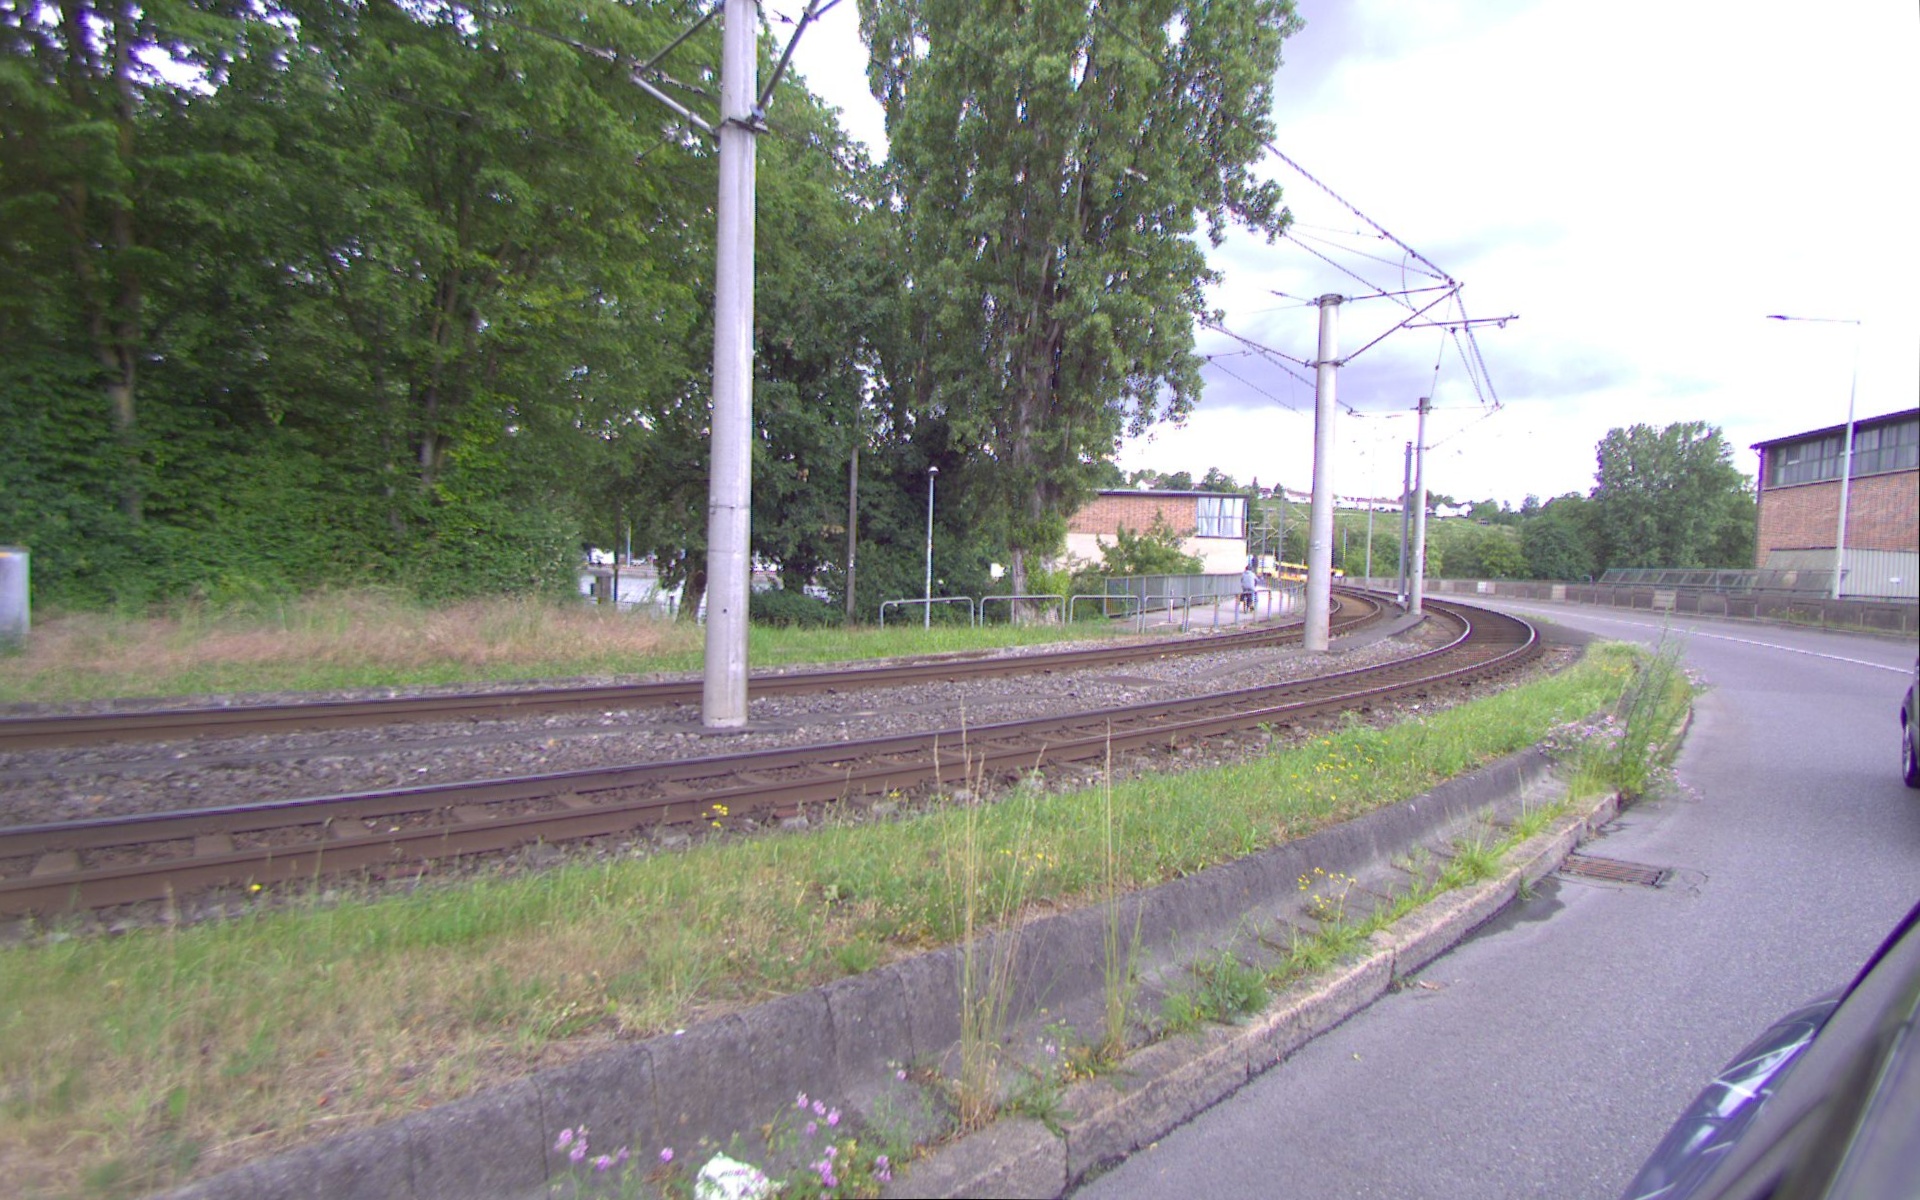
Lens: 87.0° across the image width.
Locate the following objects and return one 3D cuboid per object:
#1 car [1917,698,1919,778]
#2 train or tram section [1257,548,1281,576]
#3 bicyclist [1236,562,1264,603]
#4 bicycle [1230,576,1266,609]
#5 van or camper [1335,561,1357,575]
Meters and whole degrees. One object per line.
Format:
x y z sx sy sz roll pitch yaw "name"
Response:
7.507 0.665 6.472 1.855 1.641 3.940 3 3 42 "car"
45.988 -5.696 150.814 2.990 3.966 9.401 2 3 15 "train or tram section"
9.772 -0.592 34.123 0.592 1.377 0.898 1 1 38 "bicyclist"
9.704 -0.251 34.042 0.425 1.063 2.052 1 1 37 "bicycle"
72.398 -6.009 189.688 2.150 2.506 4.637 2 2 43 "van or camper"
